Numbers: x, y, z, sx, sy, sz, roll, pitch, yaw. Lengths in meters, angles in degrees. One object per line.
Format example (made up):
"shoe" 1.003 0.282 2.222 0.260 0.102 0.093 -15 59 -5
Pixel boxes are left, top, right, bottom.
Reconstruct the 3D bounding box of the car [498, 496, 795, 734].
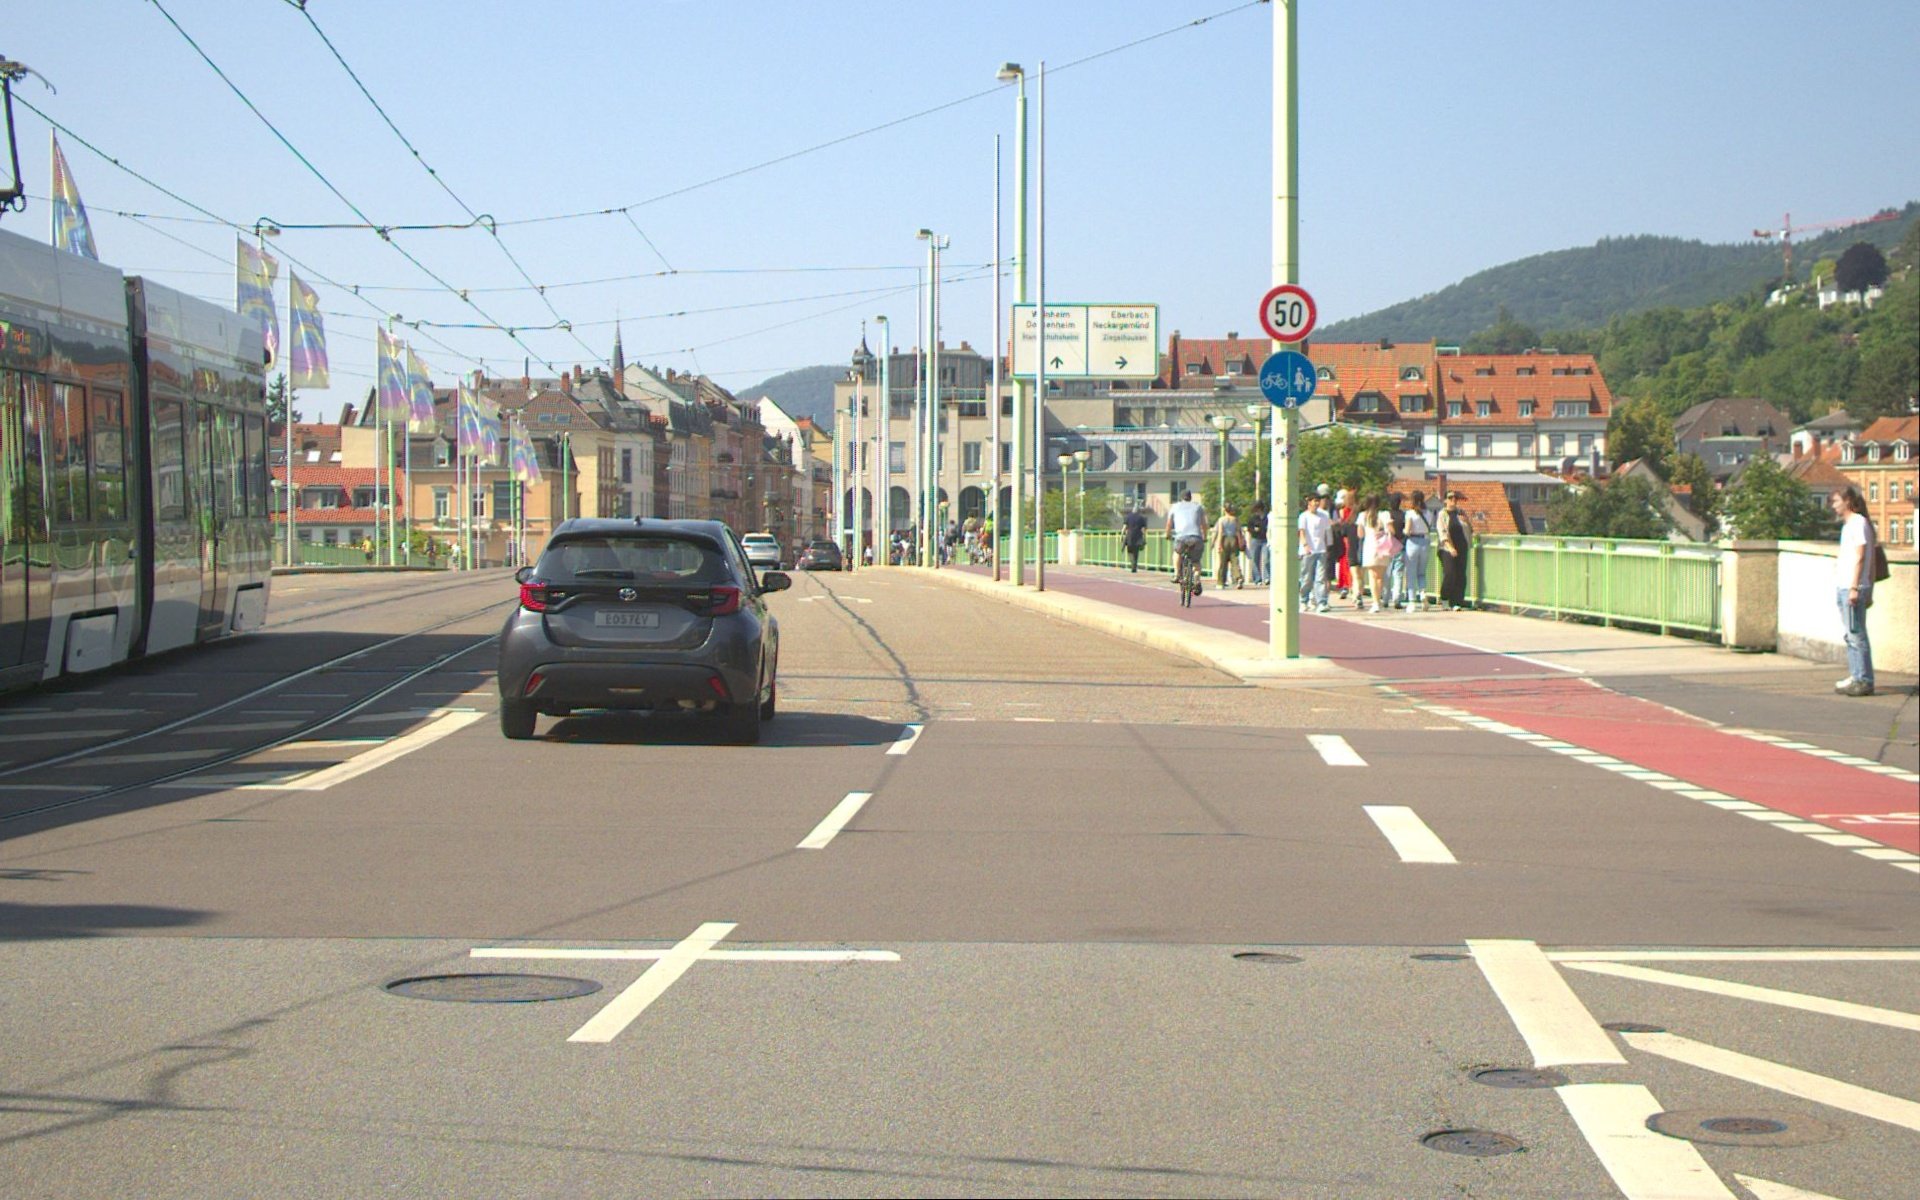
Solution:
"car" -2.227 0.041 24.244 1.909 1.535 4.001 0 2 -6

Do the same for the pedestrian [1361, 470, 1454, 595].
"pedestrian" 6.432 -0.972 49.455 0.984 1.763 1.255 -1 2 -9

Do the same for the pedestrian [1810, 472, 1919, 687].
"pedestrian" 7.847 -0.183 29.846 0.774 1.849 0.644 0 1 0

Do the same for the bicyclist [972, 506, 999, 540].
"bicyclist" 0.775 -2.360 105.034 0.666 1.041 0.981 0 2 -9

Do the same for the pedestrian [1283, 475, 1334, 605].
"pedestrian" 4.853 -0.830 47.893 0.549 1.793 0.646 0 1 -9

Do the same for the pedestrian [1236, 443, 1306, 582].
"pedestrian" 4.545 -1.275 50.246 0.803 2.007 0.954 0 1 -9

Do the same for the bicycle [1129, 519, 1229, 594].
"bicycle" 3.307 -0.680 52.256 0.792 1.092 3.745 0 1 -8

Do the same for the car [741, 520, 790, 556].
"car" -8.115 -2.570 143.166 1.803 1.464 4.001 -1 1 -6

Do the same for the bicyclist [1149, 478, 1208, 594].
"bicyclist" 3.309 -0.977 52.166 0.673 1.738 1.151 0 1 -8

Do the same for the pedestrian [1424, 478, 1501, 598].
"pedestrian" 6.907 -0.857 47.310 0.799 1.629 0.950 0 1 -9

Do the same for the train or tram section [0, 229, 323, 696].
"train or tram section" -8.185 -1.312 33.604 2.469 3.764 11.853 0 2 -4

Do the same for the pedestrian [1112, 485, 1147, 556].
"pedestrian" 4.218 -1.990 85.465 0.654 1.737 0.979 0 2 -10

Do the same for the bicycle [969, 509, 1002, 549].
"bicycle" 0.783 -2.176 105.064 0.695 1.189 2.080 0 0 -8

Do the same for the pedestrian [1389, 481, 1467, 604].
"pedestrian" 6.428 -0.792 47.293 0.833 1.671 0.886 0 1 -9

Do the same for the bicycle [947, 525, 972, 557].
"bicycle" -0.021 -1.900 111.533 0.618 1.034 2.051 0 1 -5

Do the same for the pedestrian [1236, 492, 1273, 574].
"pedestrian" 5.636 -1.288 65.851 0.649 1.557 0.692 -1 2 1

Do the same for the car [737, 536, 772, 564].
"car" -12.545 -3.065 209.807 1.993 1.711 4.001 0 1 -5

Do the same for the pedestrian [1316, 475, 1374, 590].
"pedestrian" 5.540 -0.971 49.477 0.654 1.644 0.868 0 1 -6

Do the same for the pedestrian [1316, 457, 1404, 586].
"pedestrian" 5.490 -1.073 47.223 0.984 1.744 0.930 0 1 -9

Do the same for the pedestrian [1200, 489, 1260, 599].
"pedestrian" 4.963 -1.034 63.265 0.873 2.007 1.059 0 1 -9

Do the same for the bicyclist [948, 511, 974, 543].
"bicyclist" 0.017 -2.359 111.510 0.735 1.027 1.175 0 1 -5

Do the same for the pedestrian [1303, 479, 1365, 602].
"pedestrian" 5.277 -0.838 48.511 0.695 1.710 0.732 0 1 -9

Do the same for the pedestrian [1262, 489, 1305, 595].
"pedestrian" 5.488 -0.981 58.354 0.585 1.787 0.632 0 1 -8

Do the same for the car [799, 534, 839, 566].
"car" -6.754 -2.413 165.301 1.804 1.464 4.000 -1 1 -1

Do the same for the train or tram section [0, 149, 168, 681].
"train or tram section" -7.828 -1.268 23.498 2.404 3.668 9.620 0 2 1

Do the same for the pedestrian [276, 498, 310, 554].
"pedestrian" -23.925 -2.648 123.366 1.097 2.007 1.295 0 1 -6
